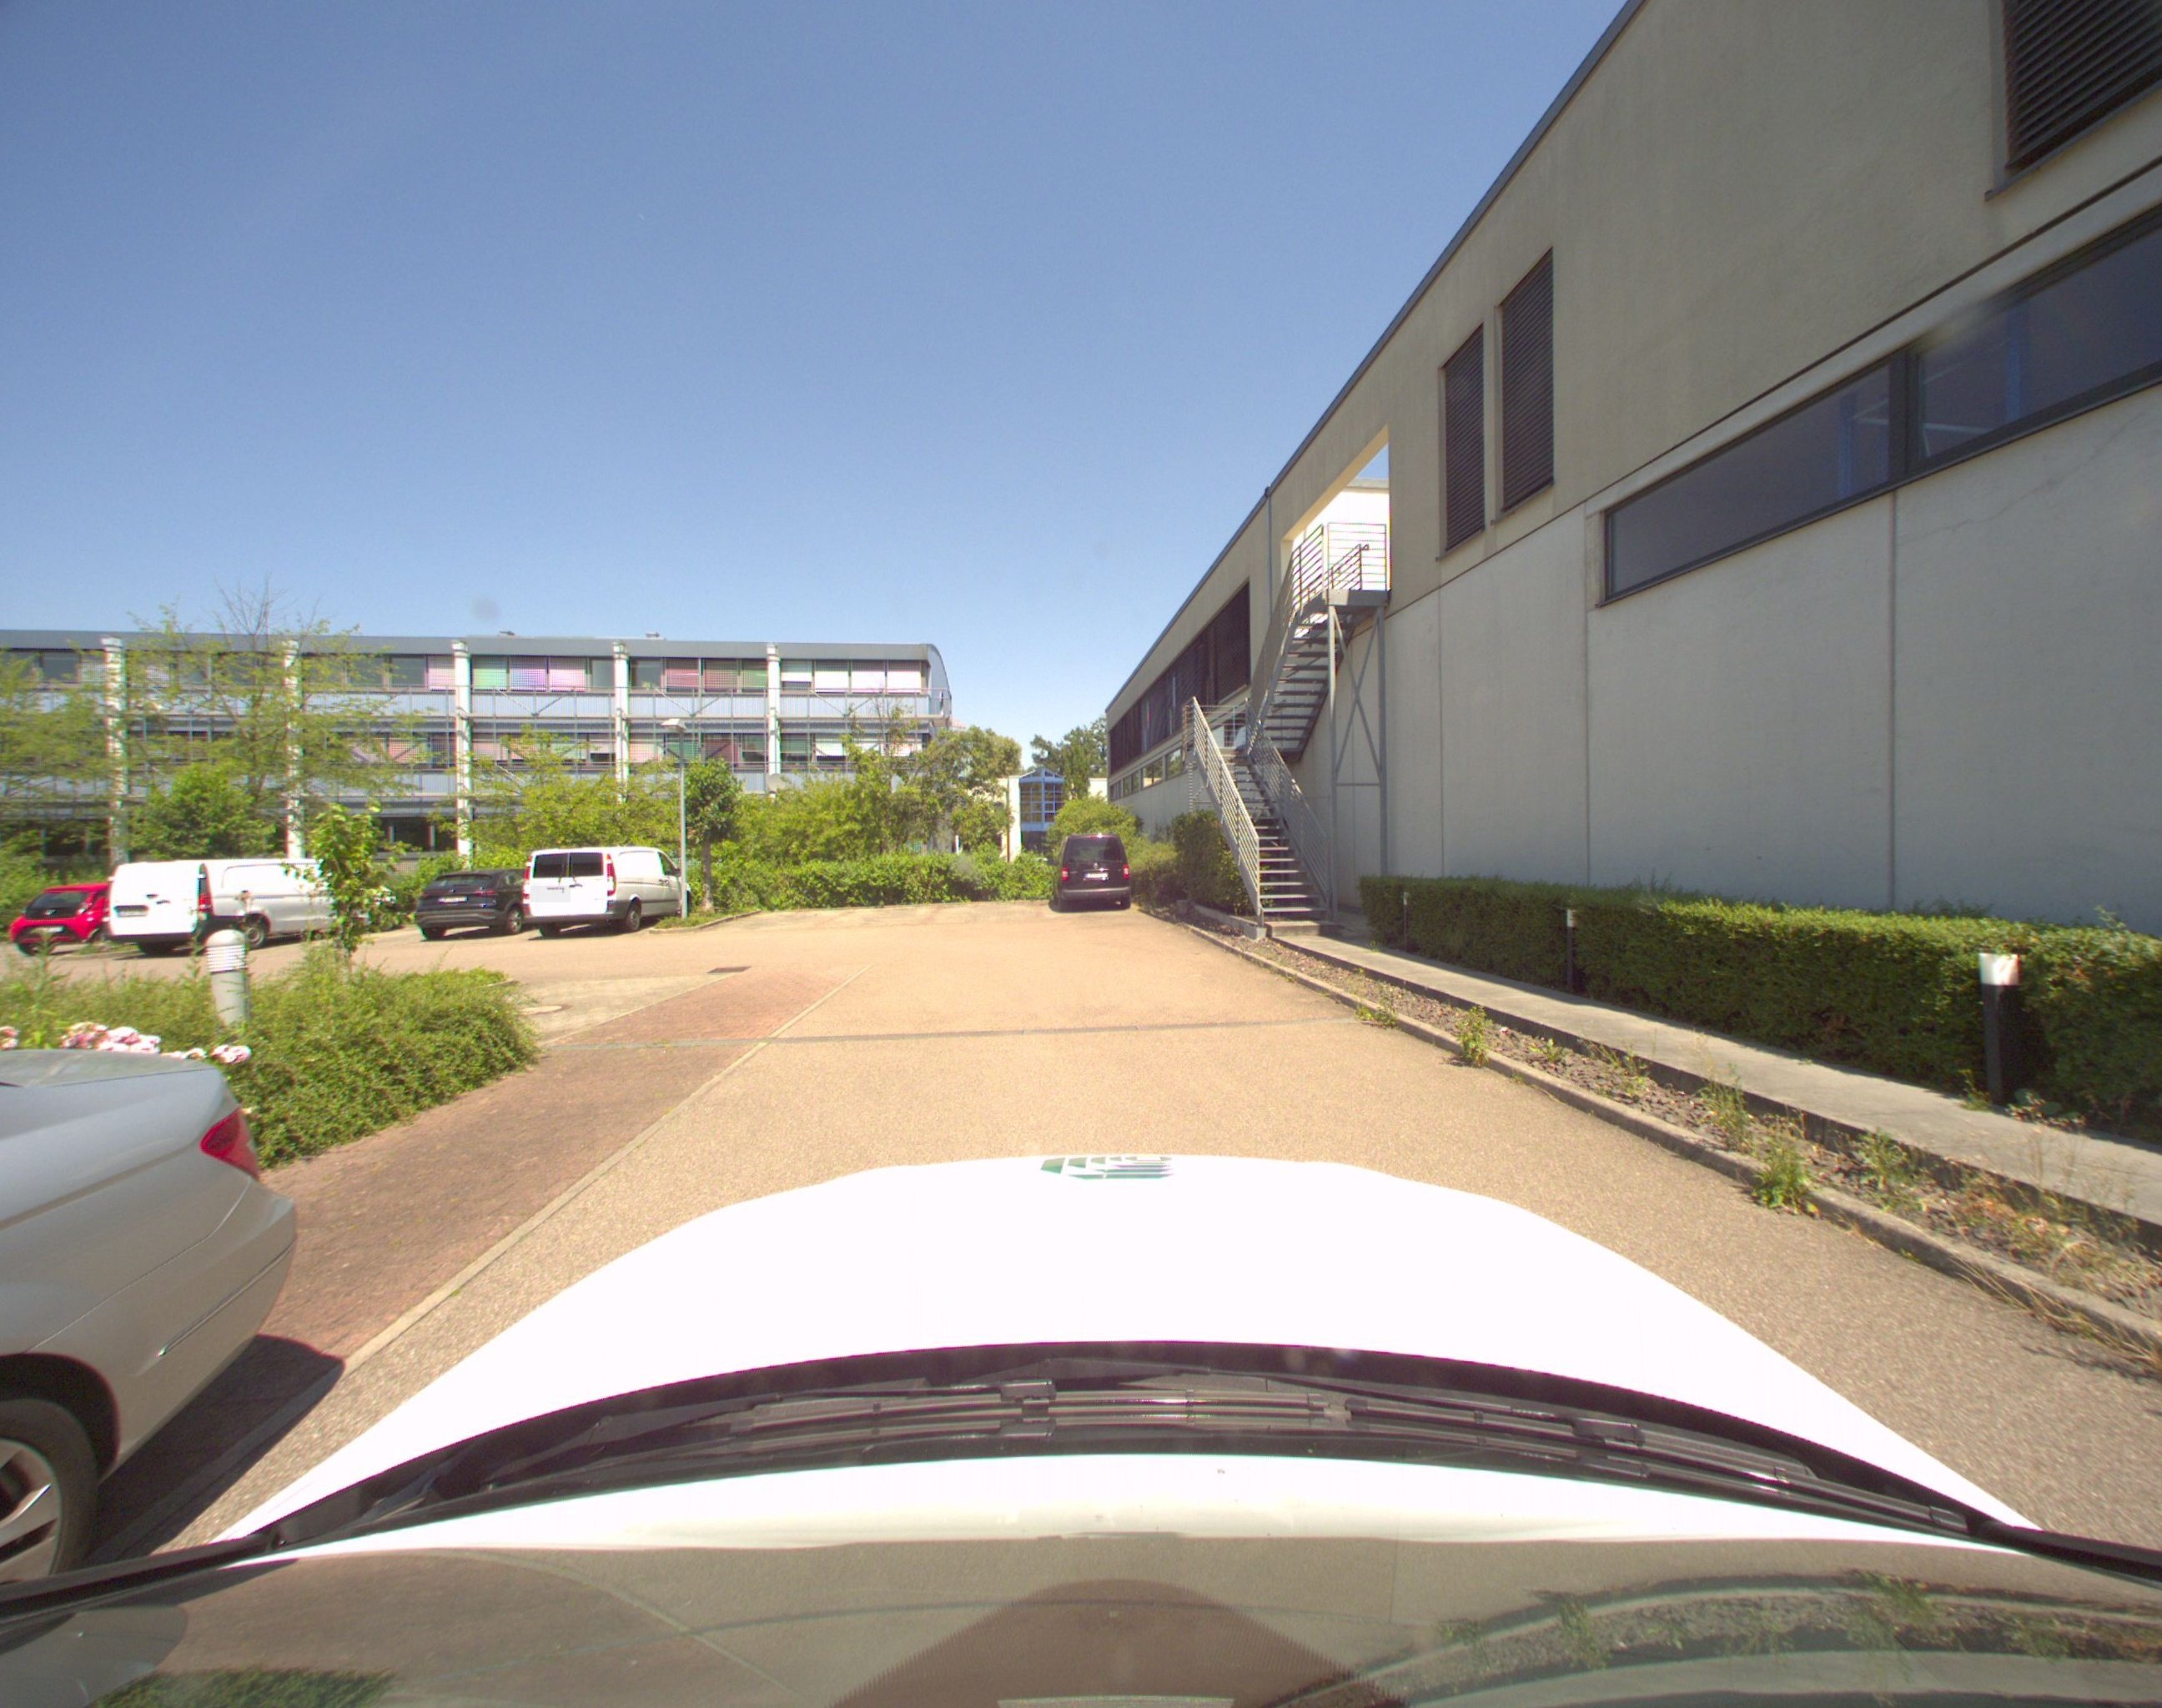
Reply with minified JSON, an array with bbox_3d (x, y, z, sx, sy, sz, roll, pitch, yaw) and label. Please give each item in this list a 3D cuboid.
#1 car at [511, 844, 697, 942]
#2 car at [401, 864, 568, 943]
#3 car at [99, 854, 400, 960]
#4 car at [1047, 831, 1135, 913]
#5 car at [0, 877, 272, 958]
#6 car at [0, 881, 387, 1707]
[{"bbox_3d":[-10.870,0.760,19.045,1.911,1.905,4.797,-2,1,-7],"label":"car"},{"bbox_3d":[-13.762,1.062,19.098,1.757,1.476,3.980,-2,1,-15],"label":"car"},{"bbox_3d":[-17.988,1.020,18.068,1.878,1.891,4.796,-2,1,-4],"label":"car"},{"bbox_3d":[0.162,0.396,20.855,1.741,1.837,3.992,-2,1,-6],"label":"car"},{"bbox_3d":[-21.410,1.362,18.683,1.778,1.441,3.995,-2,1,-3],"label":"car"},{"bbox_3d":[-2.736,0.837,0.160,1.725,1.457,4.143,-2,0,-3],"label":"car"}]
